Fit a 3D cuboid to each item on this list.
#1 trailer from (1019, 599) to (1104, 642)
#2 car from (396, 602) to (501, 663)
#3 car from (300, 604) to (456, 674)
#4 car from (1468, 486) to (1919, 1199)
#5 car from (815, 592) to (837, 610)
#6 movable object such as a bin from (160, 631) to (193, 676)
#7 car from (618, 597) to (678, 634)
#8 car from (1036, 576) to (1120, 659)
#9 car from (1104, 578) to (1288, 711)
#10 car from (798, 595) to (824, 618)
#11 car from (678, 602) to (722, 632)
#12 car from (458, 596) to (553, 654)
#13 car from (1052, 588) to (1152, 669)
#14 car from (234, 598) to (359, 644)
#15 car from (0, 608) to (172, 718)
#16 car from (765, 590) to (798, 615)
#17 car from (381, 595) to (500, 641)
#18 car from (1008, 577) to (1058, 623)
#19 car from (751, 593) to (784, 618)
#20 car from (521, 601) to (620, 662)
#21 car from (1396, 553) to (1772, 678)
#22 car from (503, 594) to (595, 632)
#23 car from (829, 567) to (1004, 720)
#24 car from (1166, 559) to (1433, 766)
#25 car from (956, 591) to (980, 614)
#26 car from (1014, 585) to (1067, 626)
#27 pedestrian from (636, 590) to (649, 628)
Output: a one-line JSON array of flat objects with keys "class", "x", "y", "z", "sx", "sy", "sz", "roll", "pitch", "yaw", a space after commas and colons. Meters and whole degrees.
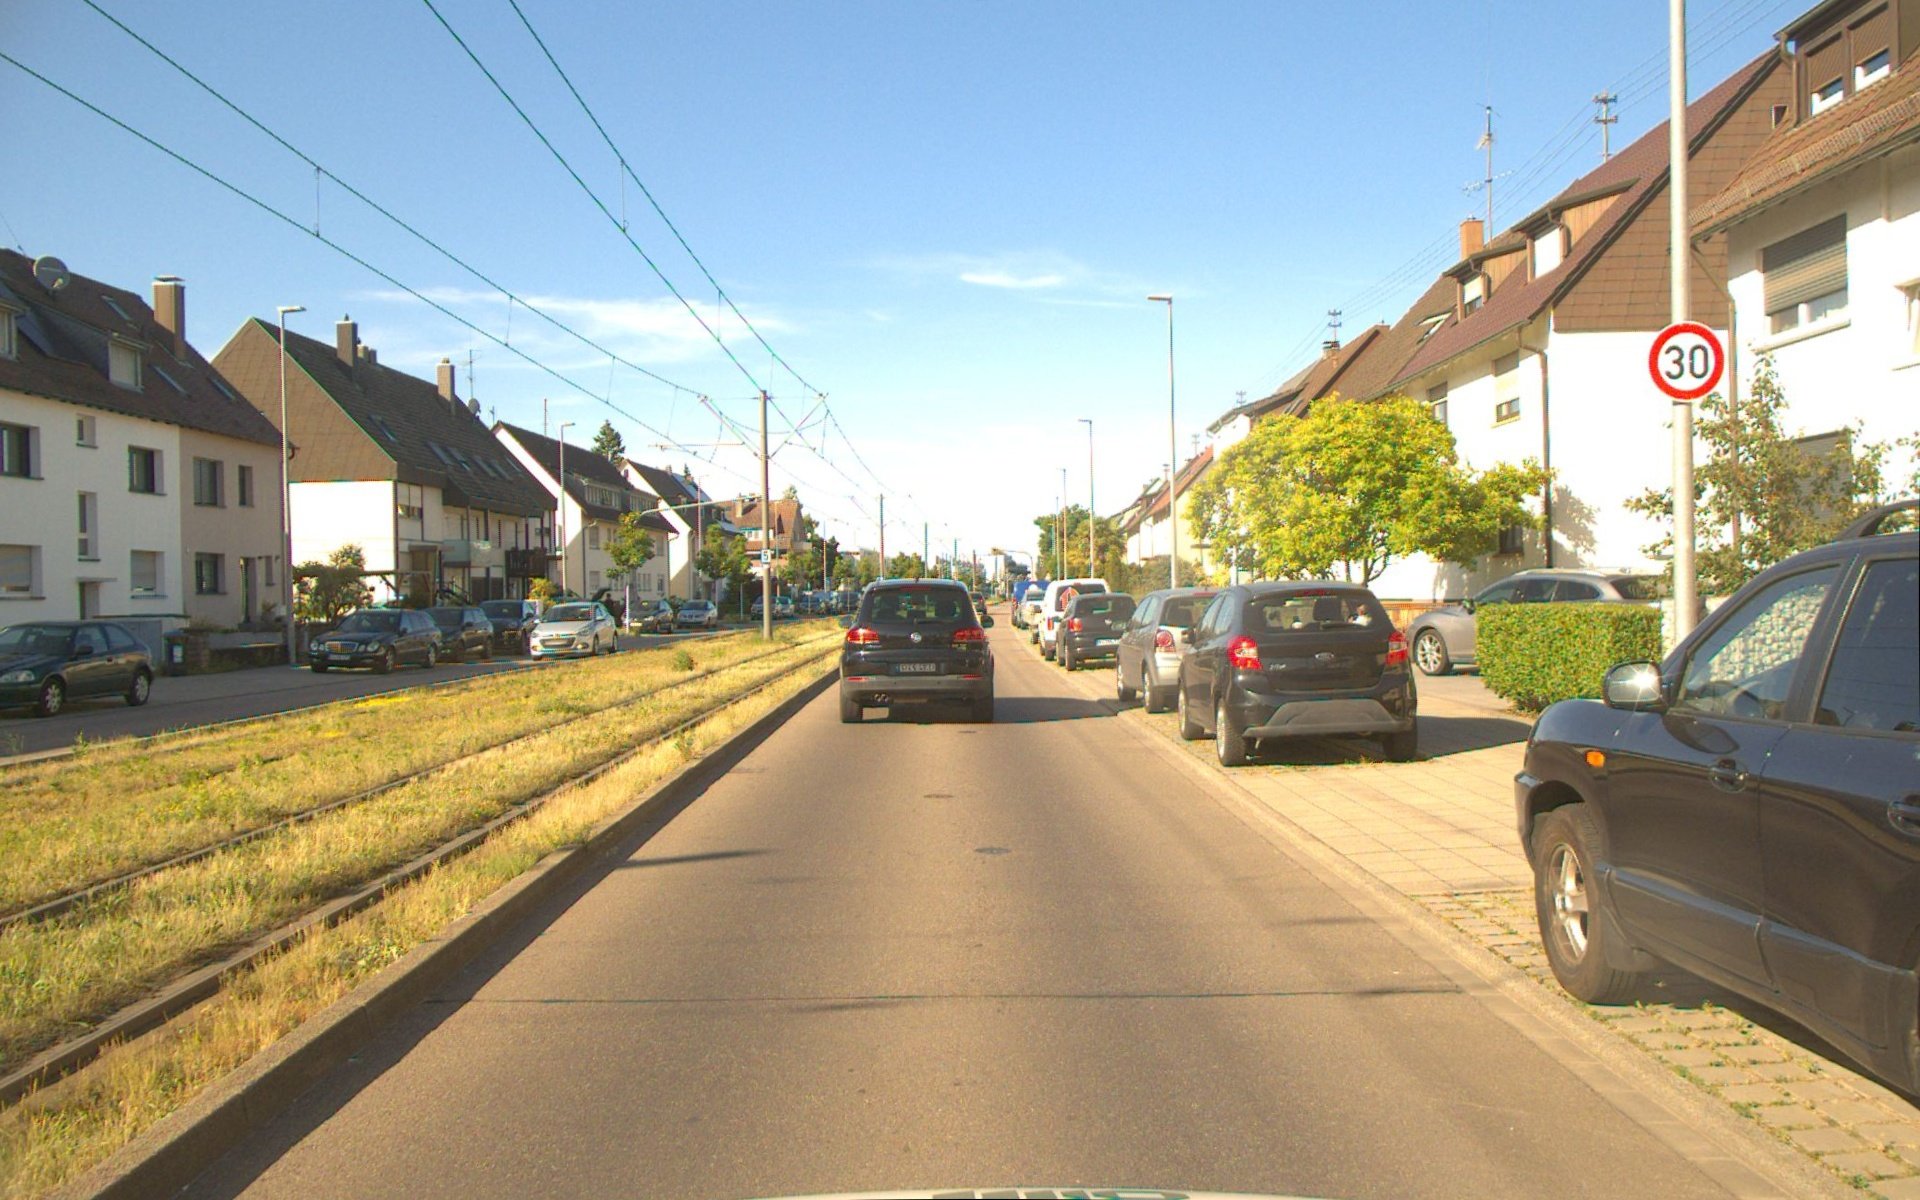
[{"class": "trailer", "x": 2.985, "y": 0.596, "z": 49.484, "sx": 2.159, "sy": 1.113, "sz": 4.371, "roll": -3, "pitch": 0, "yaw": -1}, {"class": "car", "x": -13.861, "y": 0.850, "z": 45.059, "sx": 1.489, "sy": 1.500, "sz": 4.201, "roll": -1, "pitch": 1, "yaw": 1}, {"class": "car", "x": -13.896, "y": 0.892, "z": 39.793, "sx": 1.838, "sy": 1.549, "sz": 4.882, "roll": -1, "pitch": 0, "yaw": 2}, {"class": "car", "x": 3.098, "y": 0.554, "z": 4.740, "sx": 1.816, "sy": 1.688, "sz": 4.472, "roll": -2, "pitch": 0, "yaw": -1}, {"class": "car", "x": -10.986, "y": 0.100, "z": 135.663, "sx": 1.484, "sy": 1.385, "sz": 3.590, "roll": -2, "pitch": 0, "yaw": -1}, {"class": "movable object such as a bin", "x": -16.862, "y": 1.149, "z": 35.585, "sx": 0.380, "sy": 0.943, "sz": 0.704, "roll": -1, "pitch": -2, "yaw": -2}, {"class": "car", "x": -13.539, "y": 0.652, "z": 71.948, "sx": 1.584, "sy": 1.478, "sz": 3.720, "roll": -2, "pitch": 1, "yaw": 5}, {"class": "car", "x": 2.740, "y": 0.362, "z": 39.249, "sx": 1.655, "sy": 1.807, "sz": 4.656, "roll": -2, "pitch": 0, "yaw": 0}, {"class": "car", "x": 2.928, "y": 0.518, "z": 21.371, "sx": 1.583, "sy": 1.501, "sz": 4.448, "roll": -2, "pitch": 0, "yaw": -2}, {"class": "car", "x": -11.747, "y": 0.526, "z": 130.273, "sx": 1.626, "sy": 1.609, "sz": 4.000, "roll": -2, "pitch": -1, "yaw": 1}, {"class": "car", "x": -13.308, "y": 0.883, "z": 84.757, "sx": 1.585, "sy": 1.433, "sz": 3.717, "roll": -2, "pitch": -1, "yaw": 1}, {"class": "car", "x": -13.818, "y": 0.723, "z": 50.580, "sx": 1.767, "sy": 1.625, "sz": 4.809, "roll": -1, "pitch": 0, "yaw": -3}, {"class": "car", "x": 2.809, "y": 0.545, "z": 33.398, "sx": 1.637, "sy": 1.478, "sz": 4.125, "roll": -2, "pitch": 0, "yaw": 0}, {"class": "car", "x": -25.767, "y": 0.804, "z": 64.333, "sx": 4.071, "sy": 1.683, "sz": 1.858, "roll": -1, "pitch": 0, "yaw": 3}, {"class": "car", "x": -13.928, "y": 0.912, "z": 25.240, "sx": 1.753, "sy": 1.488, "sz": 4.167, "roll": -1, "pitch": 0, "yaw": 0}, {"class": "car", "x": -12.268, "y": 0.172, "z": 114.065, "sx": 1.766, "sy": 1.660, "sz": 4.000, "roll": -1, "pitch": 1, "yaw": 0}, {"class": "car", "x": -20.174, "y": 0.673, "z": 64.316, "sx": 4.083, "sy": 1.645, "sz": 1.758, "roll": -1, "pitch": 0, "yaw": -4}, {"class": "car", "x": 3.165, "y": -0.023, "z": 72.589, "sx": 1.953, "sy": 1.894, "sz": 4.917, "roll": -2, "pitch": 0, "yaw": 0}, {"class": "car", "x": -12.533, "y": 0.358, "z": 107.778, "sx": 1.625, "sy": 1.523, "sz": 3.580, "roll": -2, "pitch": 0, "yaw": 0}, {"class": "car", "x": -10.492, "y": 0.864, "z": 44.841, "sx": 1.673, "sy": 1.517, "sz": 4.024, "roll": -2, "pitch": -1, "yaw": 1}, {"class": "car", "x": 8.412, "y": 0.200, "z": 22.828, "sx": 1.969, "sy": 1.470, "sz": 4.842, "roll": -2, "pitch": 0, "yaw": -25}, {"class": "car", "x": -18.668, "y": 0.600, "z": 75.325, "sx": 3.828, "sy": 1.595, "sz": 1.732, "roll": -2, "pitch": 0, "yaw": -7}, {"class": "car", "x": -0.647, "y": 0.497, "z": 20.627, "sx": 1.777, "sy": 1.700, "sz": 4.251, "roll": 0, "pitch": 0, "yaw": -7}, {"class": "car", "x": 2.969, "y": 0.493, "z": 15.228, "sx": 1.632, "sy": 1.574, "sz": 3.836, "roll": -3, "pitch": 0, "yaw": 1}, {"class": "car", "x": 0.550, "y": 0.158, "z": 110.516, "sx": 1.540, "sy": 1.415, "sz": 3.614, "roll": -1, "pitch": 0, "yaw": 0}, {"class": "car", "x": 3.191, "y": 0.204, "z": 66.216, "sx": 1.750, "sy": 1.466, "sz": 4.458, "roll": -3, "pitch": 0, "yaw": -2}, {"class": "pedestrian", "x": -15.009, "y": 0.416, "z": 78.276, "sx": 0.459, "sy": 1.776, "sz": 0.536, "roll": -1, "pitch": 0, "yaw": 0}]
